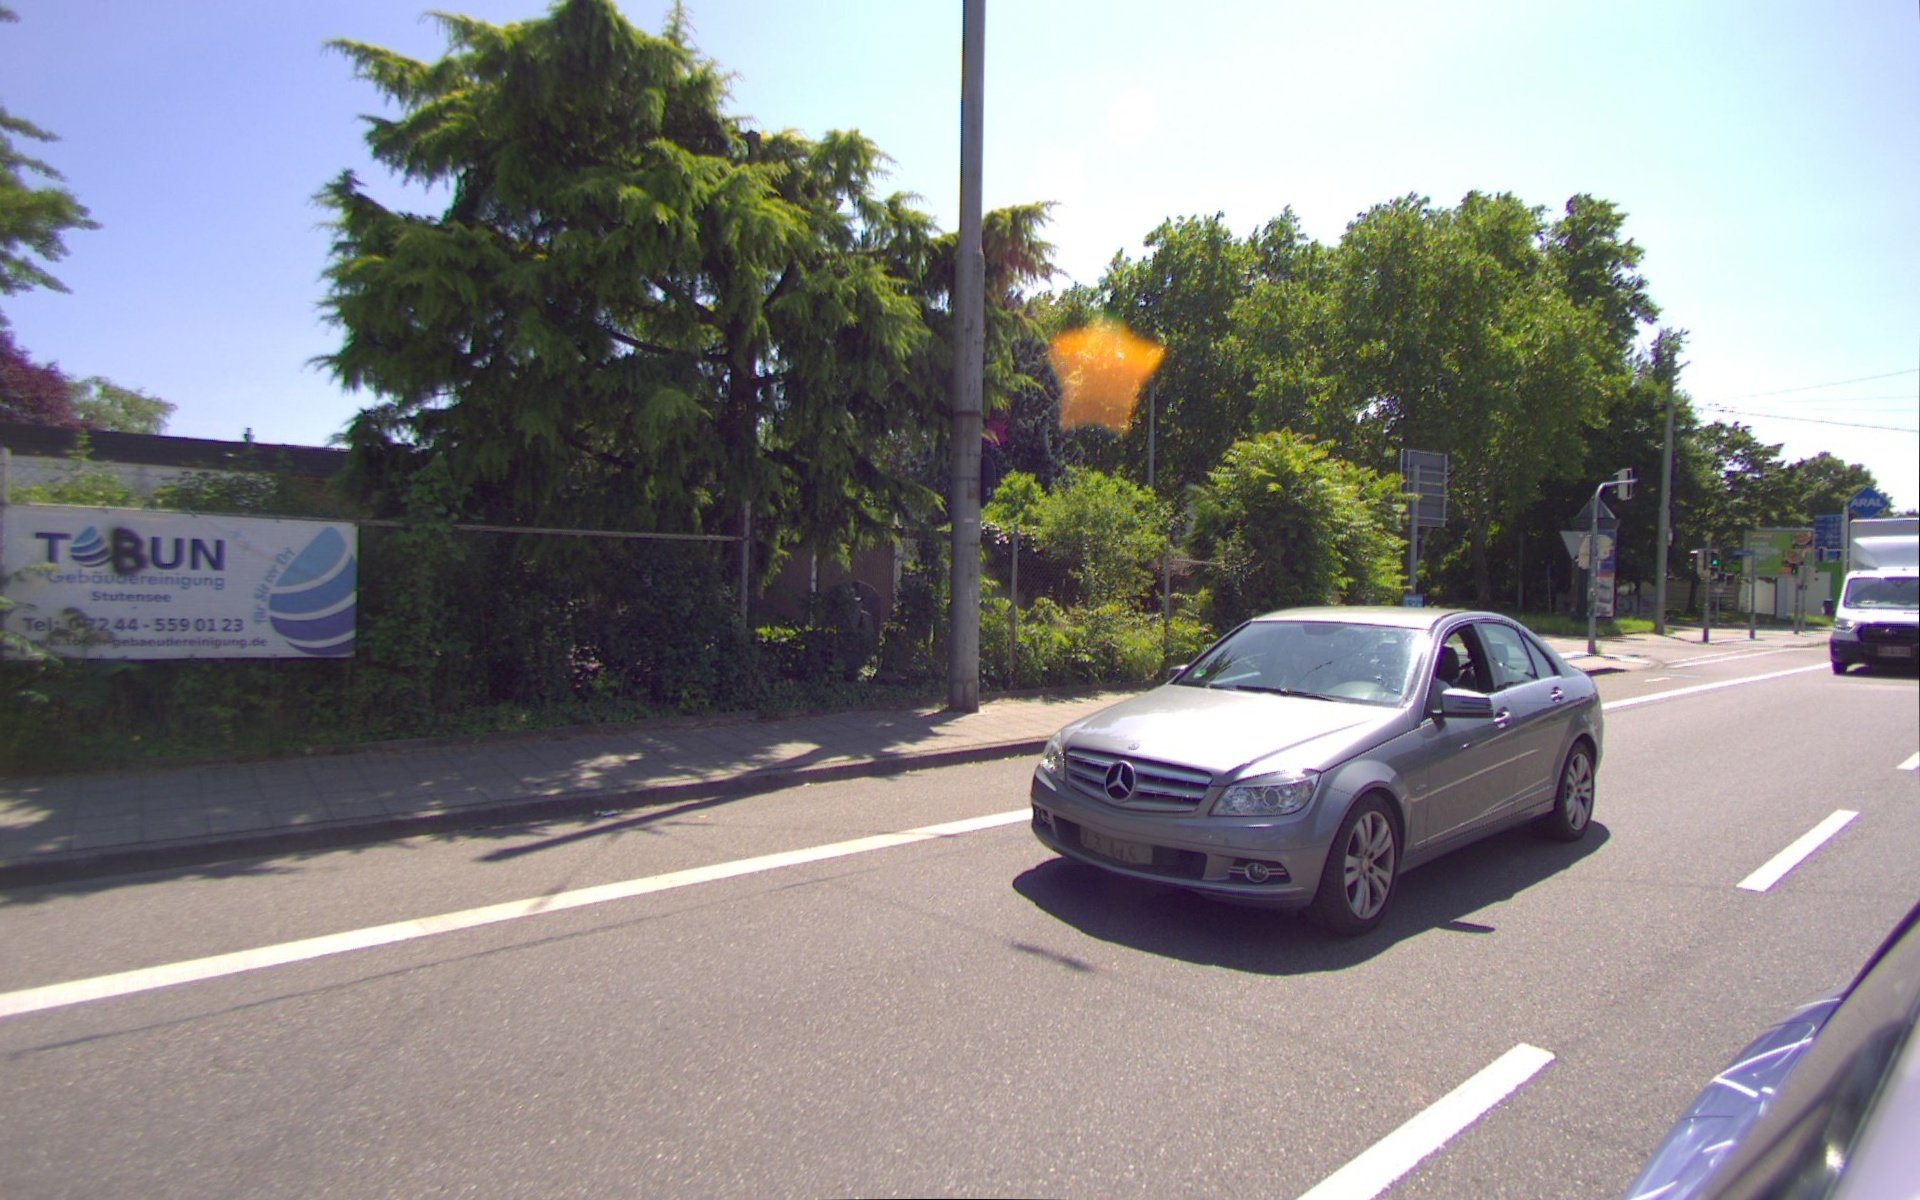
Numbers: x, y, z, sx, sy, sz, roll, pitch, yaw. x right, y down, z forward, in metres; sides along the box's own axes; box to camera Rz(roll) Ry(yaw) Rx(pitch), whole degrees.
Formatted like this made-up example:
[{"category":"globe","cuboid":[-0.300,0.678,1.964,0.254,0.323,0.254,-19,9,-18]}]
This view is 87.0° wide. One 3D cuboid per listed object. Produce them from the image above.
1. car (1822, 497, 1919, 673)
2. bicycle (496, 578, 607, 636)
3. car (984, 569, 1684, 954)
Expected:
[{"category":"car","cuboid":[21.431,-0.278,22.417,8.483,3.378,2.228,0,0,-40]},{"category":"bicycle","cuboid":[-8.623,0.147,21.319,2.457,1.183,0.654,0,0,24]},{"category":"car","cuboid":[2.661,0.654,6.276,5.207,1.492,1.716,1,-1,-40]}]
